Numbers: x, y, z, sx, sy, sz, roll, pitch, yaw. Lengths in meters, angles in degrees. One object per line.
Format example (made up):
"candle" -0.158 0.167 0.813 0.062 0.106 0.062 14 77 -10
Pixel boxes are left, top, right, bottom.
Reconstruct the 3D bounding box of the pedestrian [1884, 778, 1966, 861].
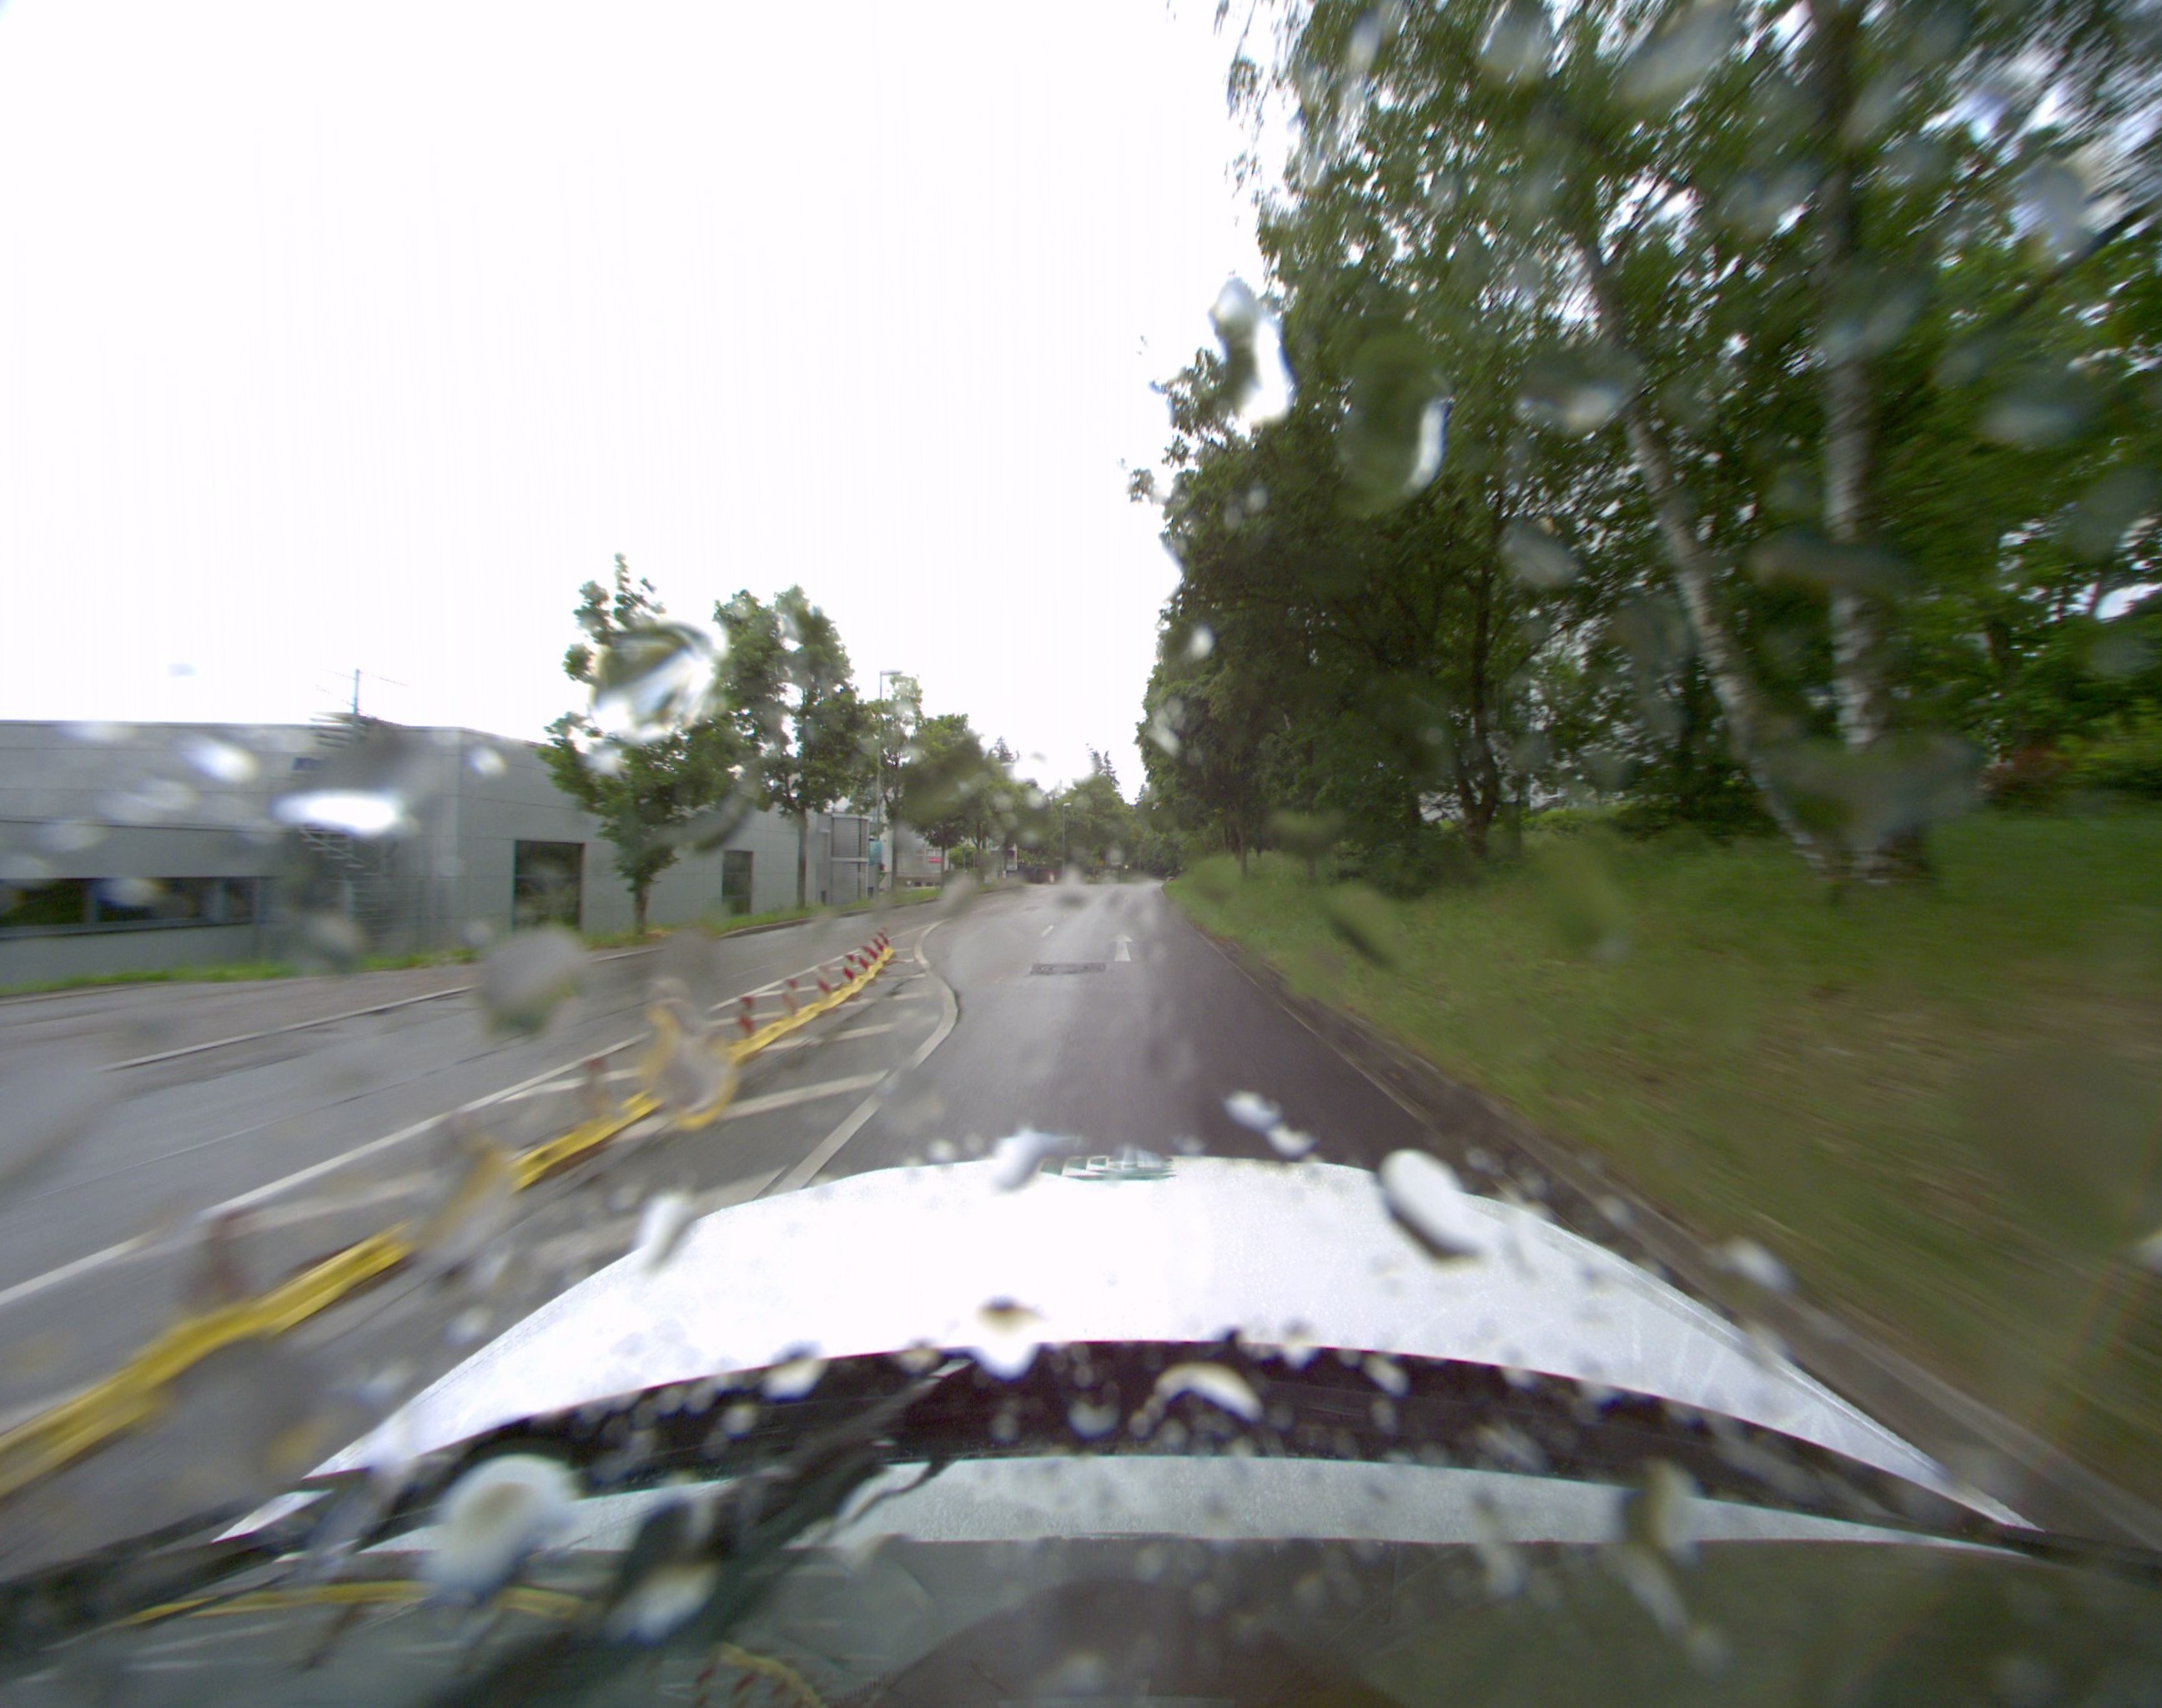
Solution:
"pedestrian" 13.717 -0.548 13.253 0.651 1.284 0.626 -2 0 6

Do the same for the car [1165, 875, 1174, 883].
"car" 17.569 4.921 162.552 1.728 1.510 4.006 -2 -2 6
